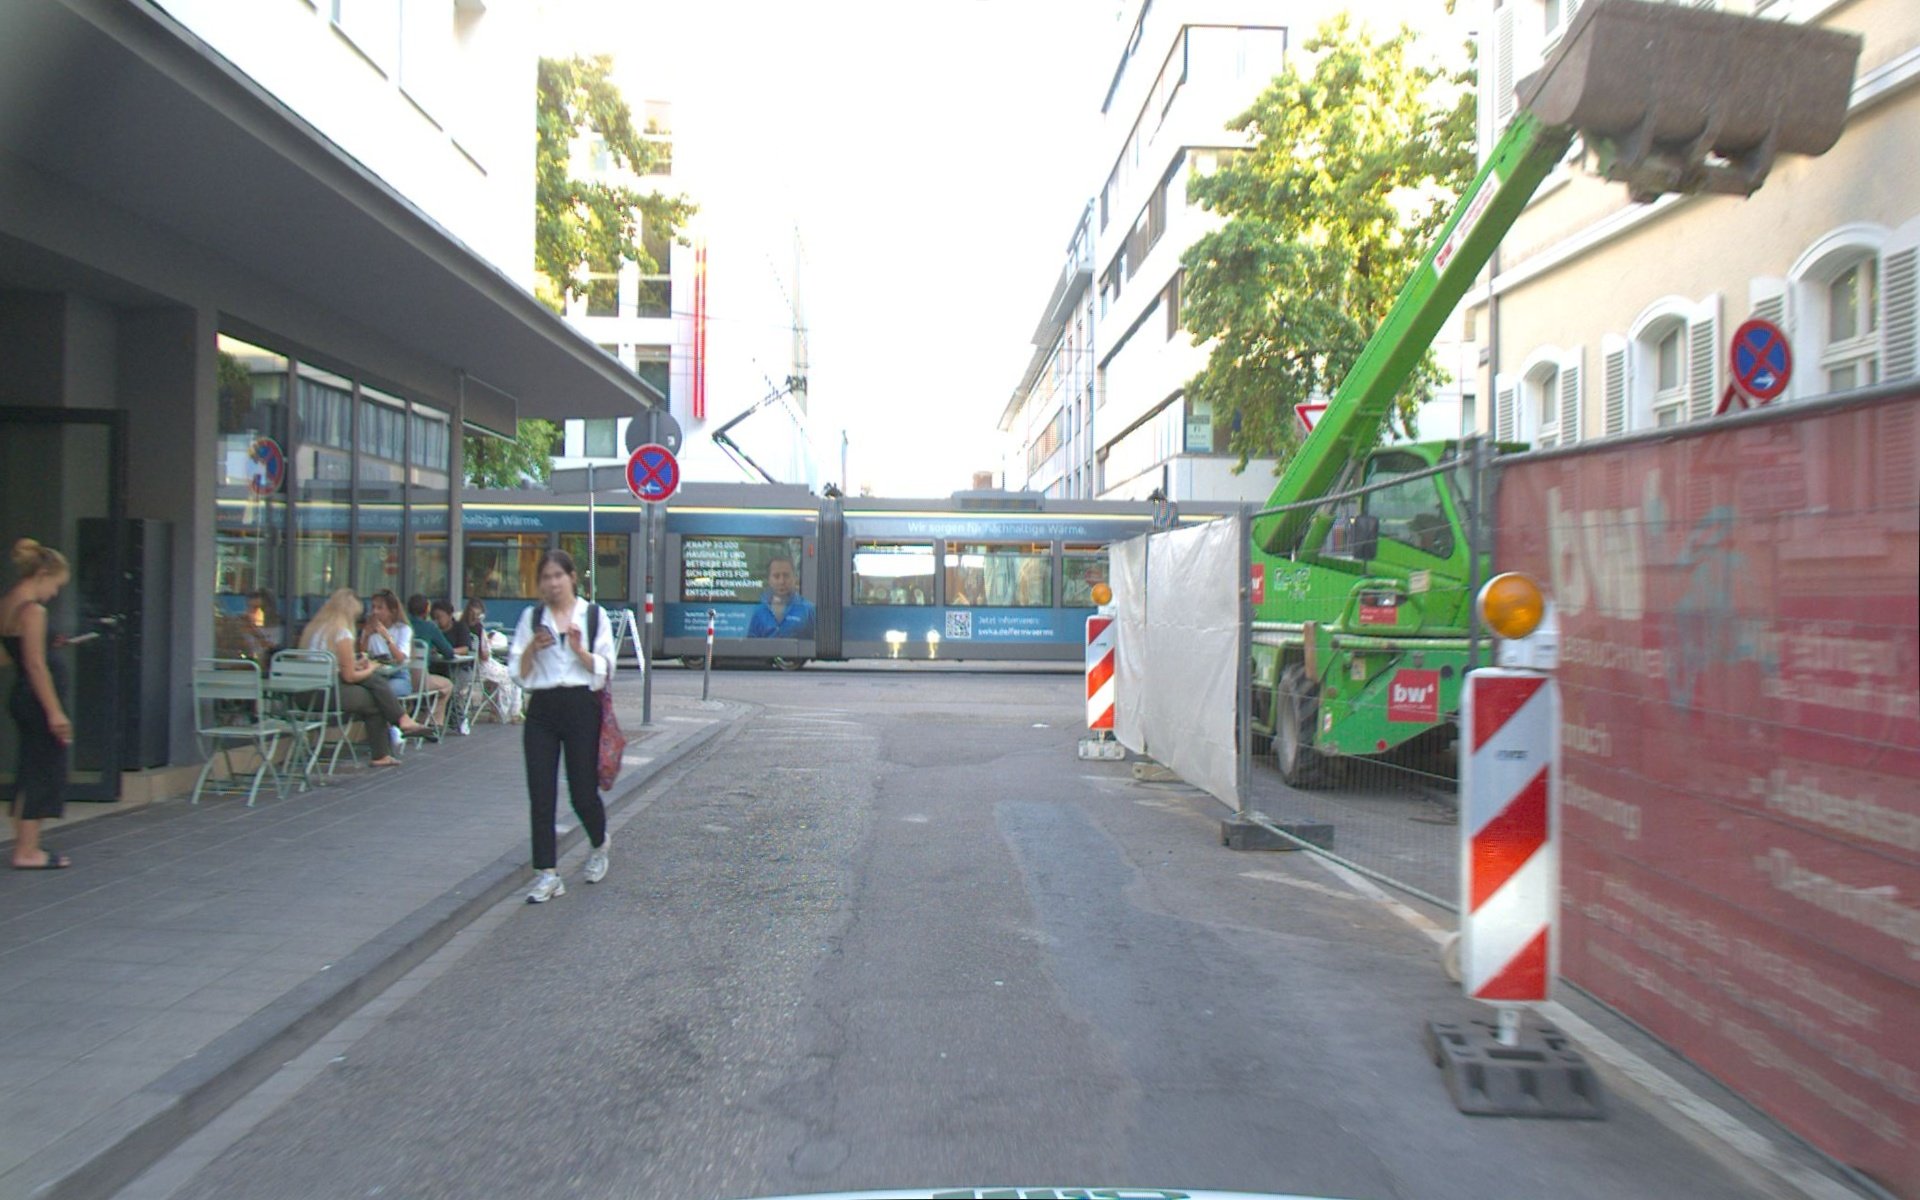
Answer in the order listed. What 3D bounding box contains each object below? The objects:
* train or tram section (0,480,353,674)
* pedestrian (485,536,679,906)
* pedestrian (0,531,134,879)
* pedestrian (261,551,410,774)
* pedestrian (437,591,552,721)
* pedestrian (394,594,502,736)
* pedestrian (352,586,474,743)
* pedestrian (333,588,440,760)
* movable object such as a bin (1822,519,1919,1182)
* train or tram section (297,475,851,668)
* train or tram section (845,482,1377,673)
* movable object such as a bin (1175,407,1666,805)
[{"bbox_3d":[-17.639,-0.405,32.038,10.591,3.585,3.012,0,-1,-2],"label":"train or tram section"},{"bbox_3d":[-1.898,0.583,8.405,0.741,1.770,0.785,-2,0,1],"label":"pedestrian"},{"bbox_3d":[-4.364,0.480,7.952,0.649,1.597,0.632,2,0,-28],"label":"pedestrian"},{"bbox_3d":[-4.596,0.440,12.218,0.689,1.575,0.861,1,0,6],"label":"pedestrian"},{"bbox_3d":[-4.610,0.540,16.393,0.692,1.240,0.839,1,0,35],"label":"pedestrian"},{"bbox_3d":[-4.664,0.579,15.094,0.689,1.216,0.691,3,0,1],"label":"pedestrian"},{"bbox_3d":[-4.670,0.538,14.167,0.689,1.261,0.778,4,0,1],"label":"pedestrian"},{"bbox_3d":[-4.566,0.565,13.151,0.695,1.308,0.854,1,0,-26],"label":"pedestrian"},{"bbox_3d":[4.029,0.663,1.098,2.833,1.694,7.290,-1,1,-3],"label":"movable object such as a bin"},{"bbox_3d":[-7.276,-0.503,32.448,10.159,3.585,3.016,0,-1,-2],"label":"train or tram section"},{"bbox_3d":[2.848,-0.429,32.857,10.128,3.585,3.025,0,-1,-2],"label":"train or tram section"},{"bbox_3d":[3.781,0.019,15.011,2.583,2.923,5.561,-1,0,-4],"label":"movable object such as a bin"}]
